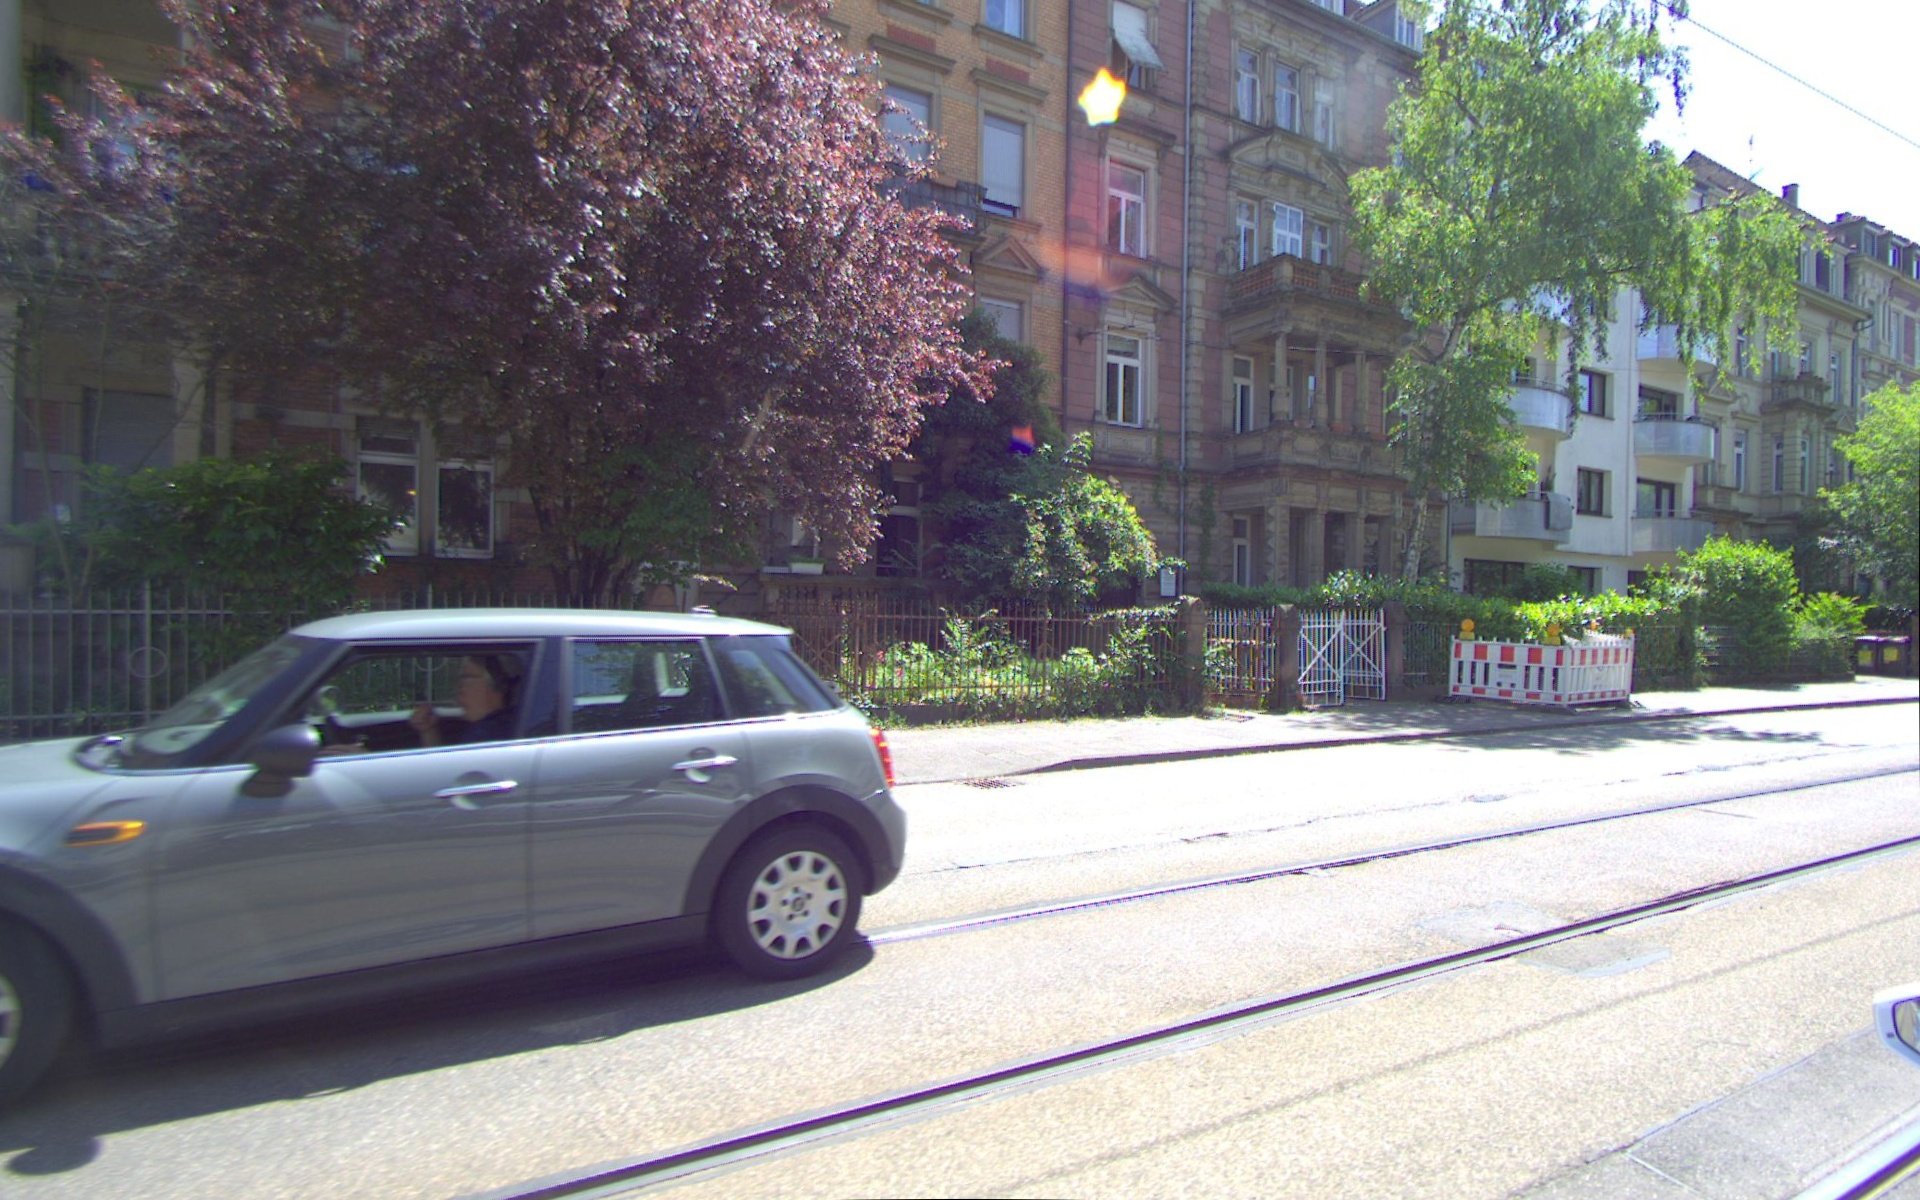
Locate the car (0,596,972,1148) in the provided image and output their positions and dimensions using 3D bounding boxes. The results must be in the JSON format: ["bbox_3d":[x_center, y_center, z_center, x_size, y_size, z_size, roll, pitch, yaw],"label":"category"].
[{"bbox_3d":[-1.967,0.765,4.079,3.706,1.474,1.677,1,0,-31],"label":"car"}]

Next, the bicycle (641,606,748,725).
[{"bbox_3d":[-3.146,0.727,11.803,0.506,1.203,1.594,0,4,-42],"label":"bicycle"}]
